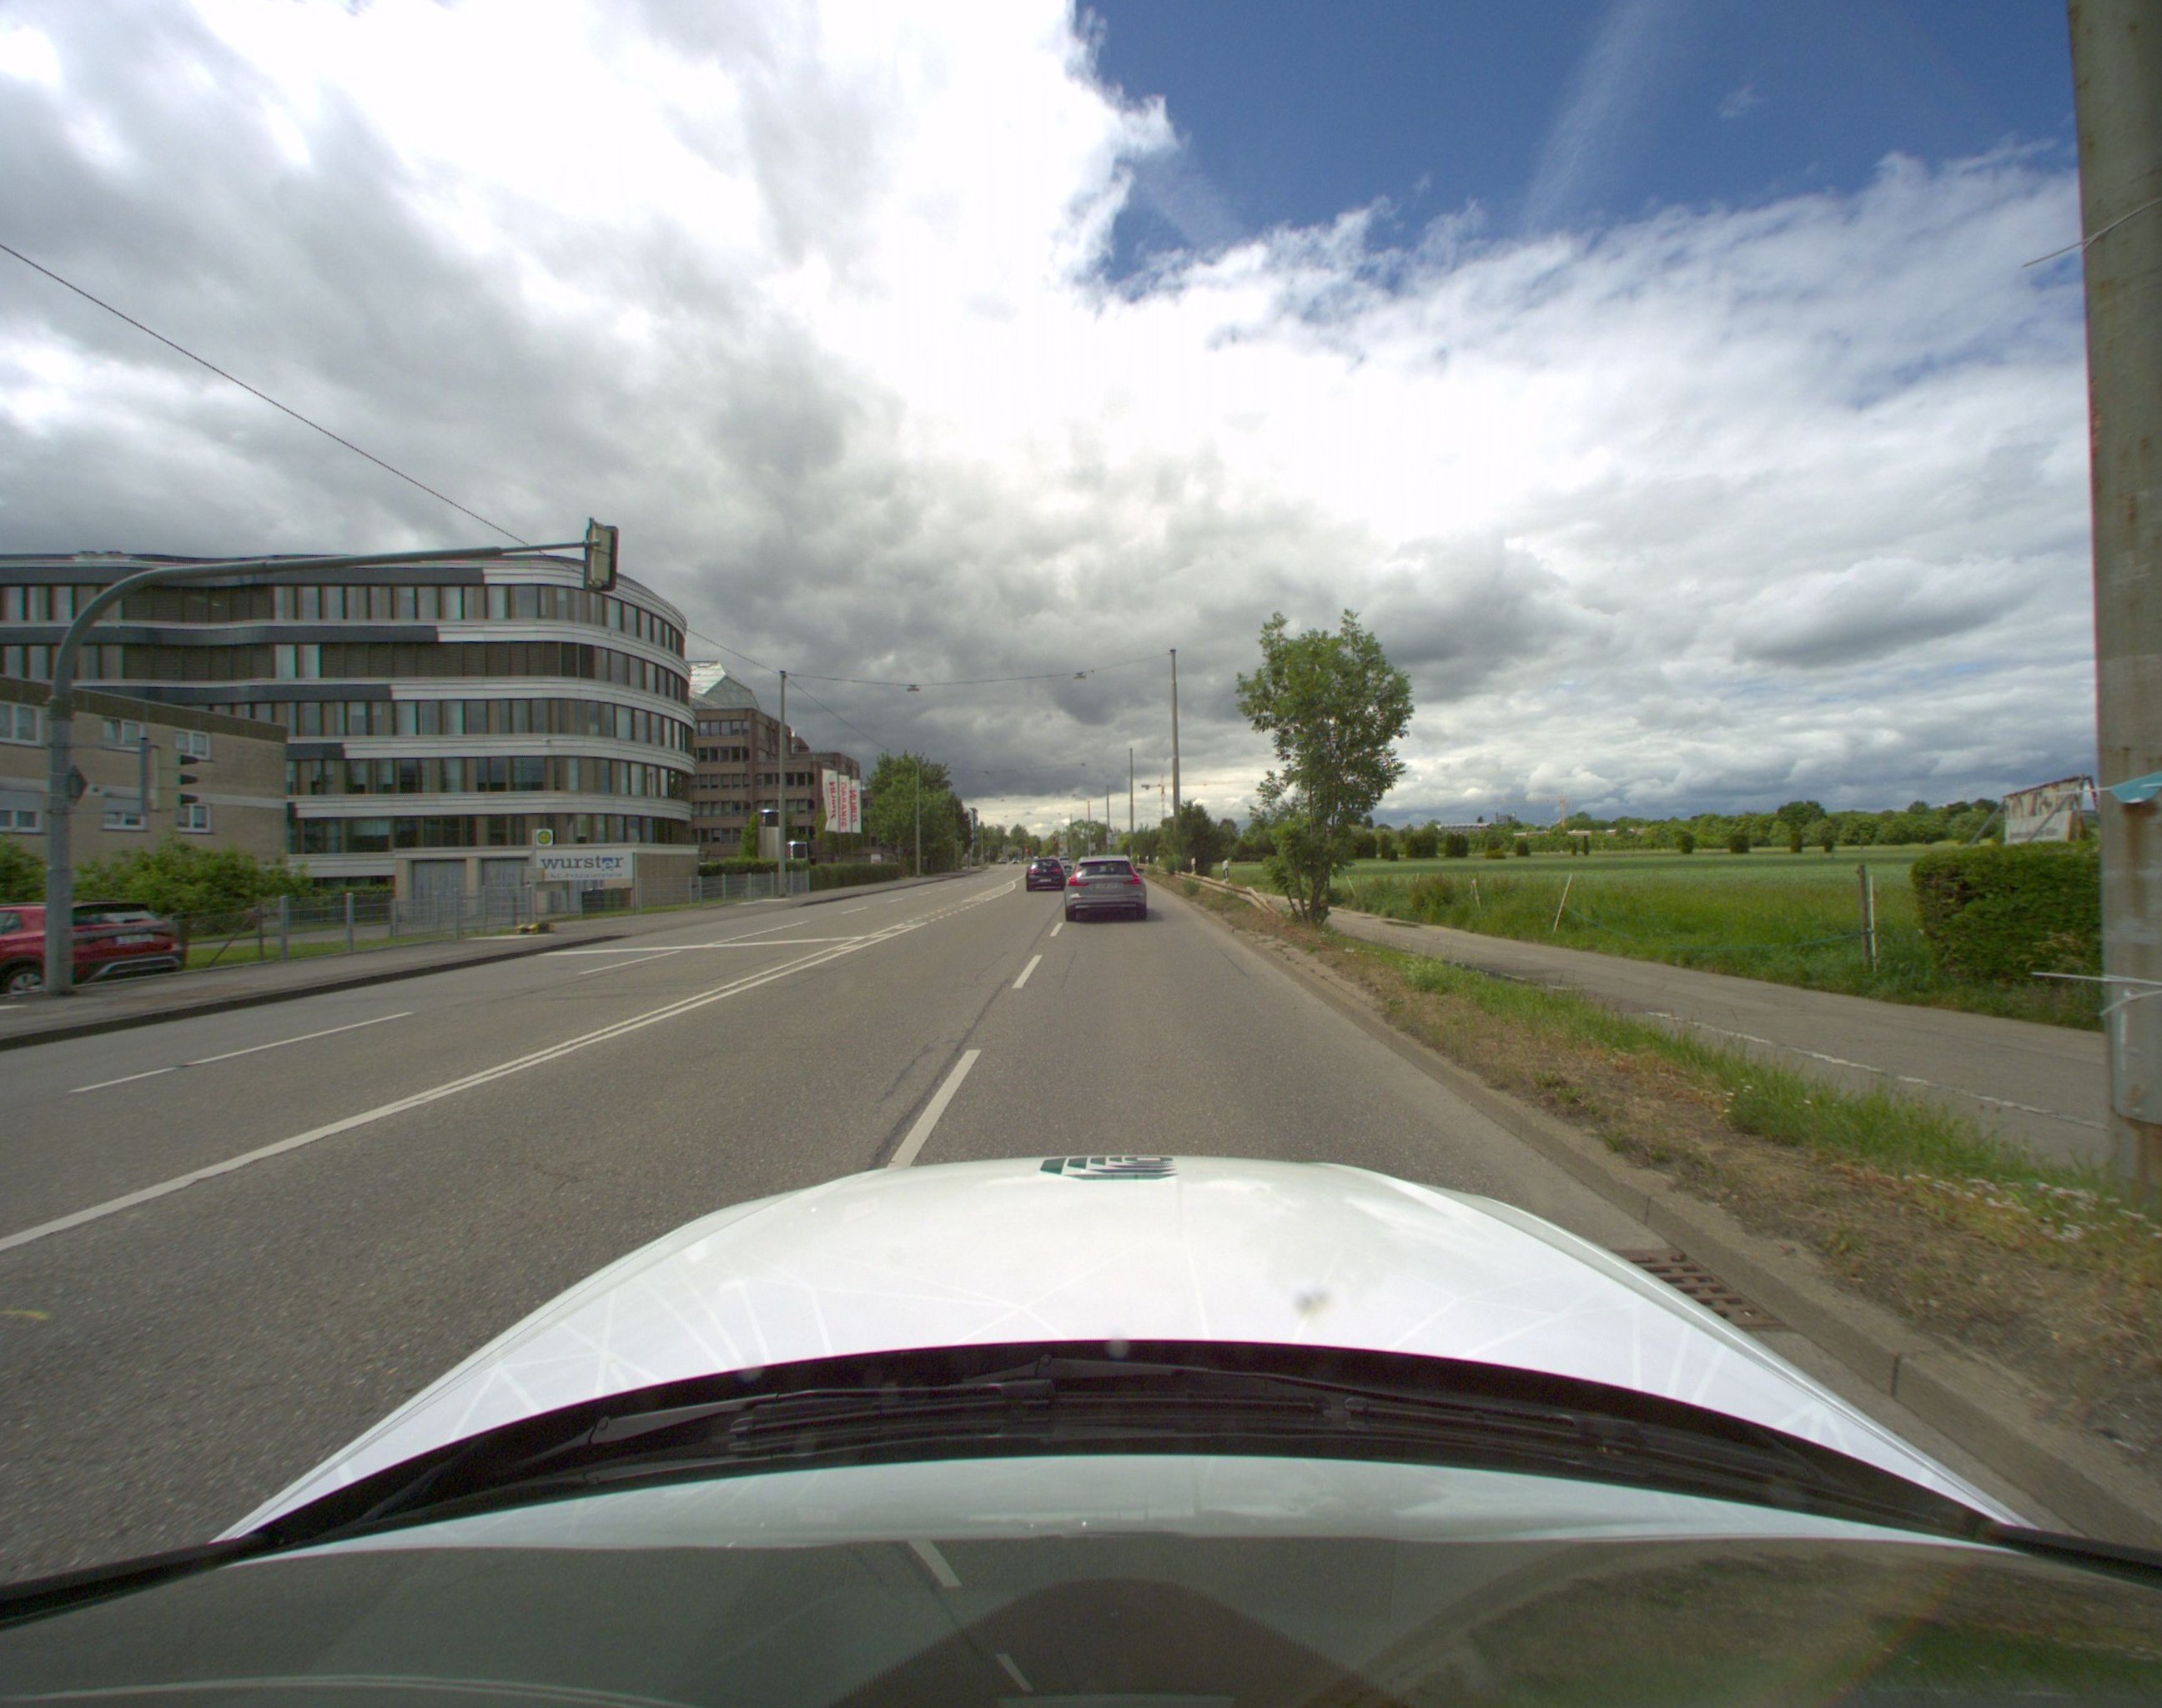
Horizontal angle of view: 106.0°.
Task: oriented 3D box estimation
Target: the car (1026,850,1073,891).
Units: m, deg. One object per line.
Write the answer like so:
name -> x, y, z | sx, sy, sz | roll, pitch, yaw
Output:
car -> -1.356, 0.736, 36.205 | 1.988, 1.717, 3.998 | 0, -1, -1

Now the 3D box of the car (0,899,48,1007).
car -> -16.062, 1.539, 9.836 | 4.217, 1.387, 1.981 | -7, -1, -5

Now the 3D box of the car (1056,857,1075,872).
car -> -1.793, 1.225, 94.670 | 1.987, 1.695, 4.000 | 0, -1, 1

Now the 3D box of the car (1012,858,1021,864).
car -> -15.986, 1.812, 202.373 | 1.876, 1.520, 3.998 | 0, -1, -1

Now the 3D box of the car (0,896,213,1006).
car -> -16.404, 1.610, 12.499 | 3.976, 1.369, 1.847 | -7, -1, -1

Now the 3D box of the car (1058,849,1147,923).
car -> 0.544, 0.724, 19.579 | 1.888, 1.554, 4.002 | -2, -1, 2

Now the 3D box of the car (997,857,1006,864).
car -> -20.030, 1.716, 204.230 | 1.876, 1.717, 3.998 | 0, -1, -1
